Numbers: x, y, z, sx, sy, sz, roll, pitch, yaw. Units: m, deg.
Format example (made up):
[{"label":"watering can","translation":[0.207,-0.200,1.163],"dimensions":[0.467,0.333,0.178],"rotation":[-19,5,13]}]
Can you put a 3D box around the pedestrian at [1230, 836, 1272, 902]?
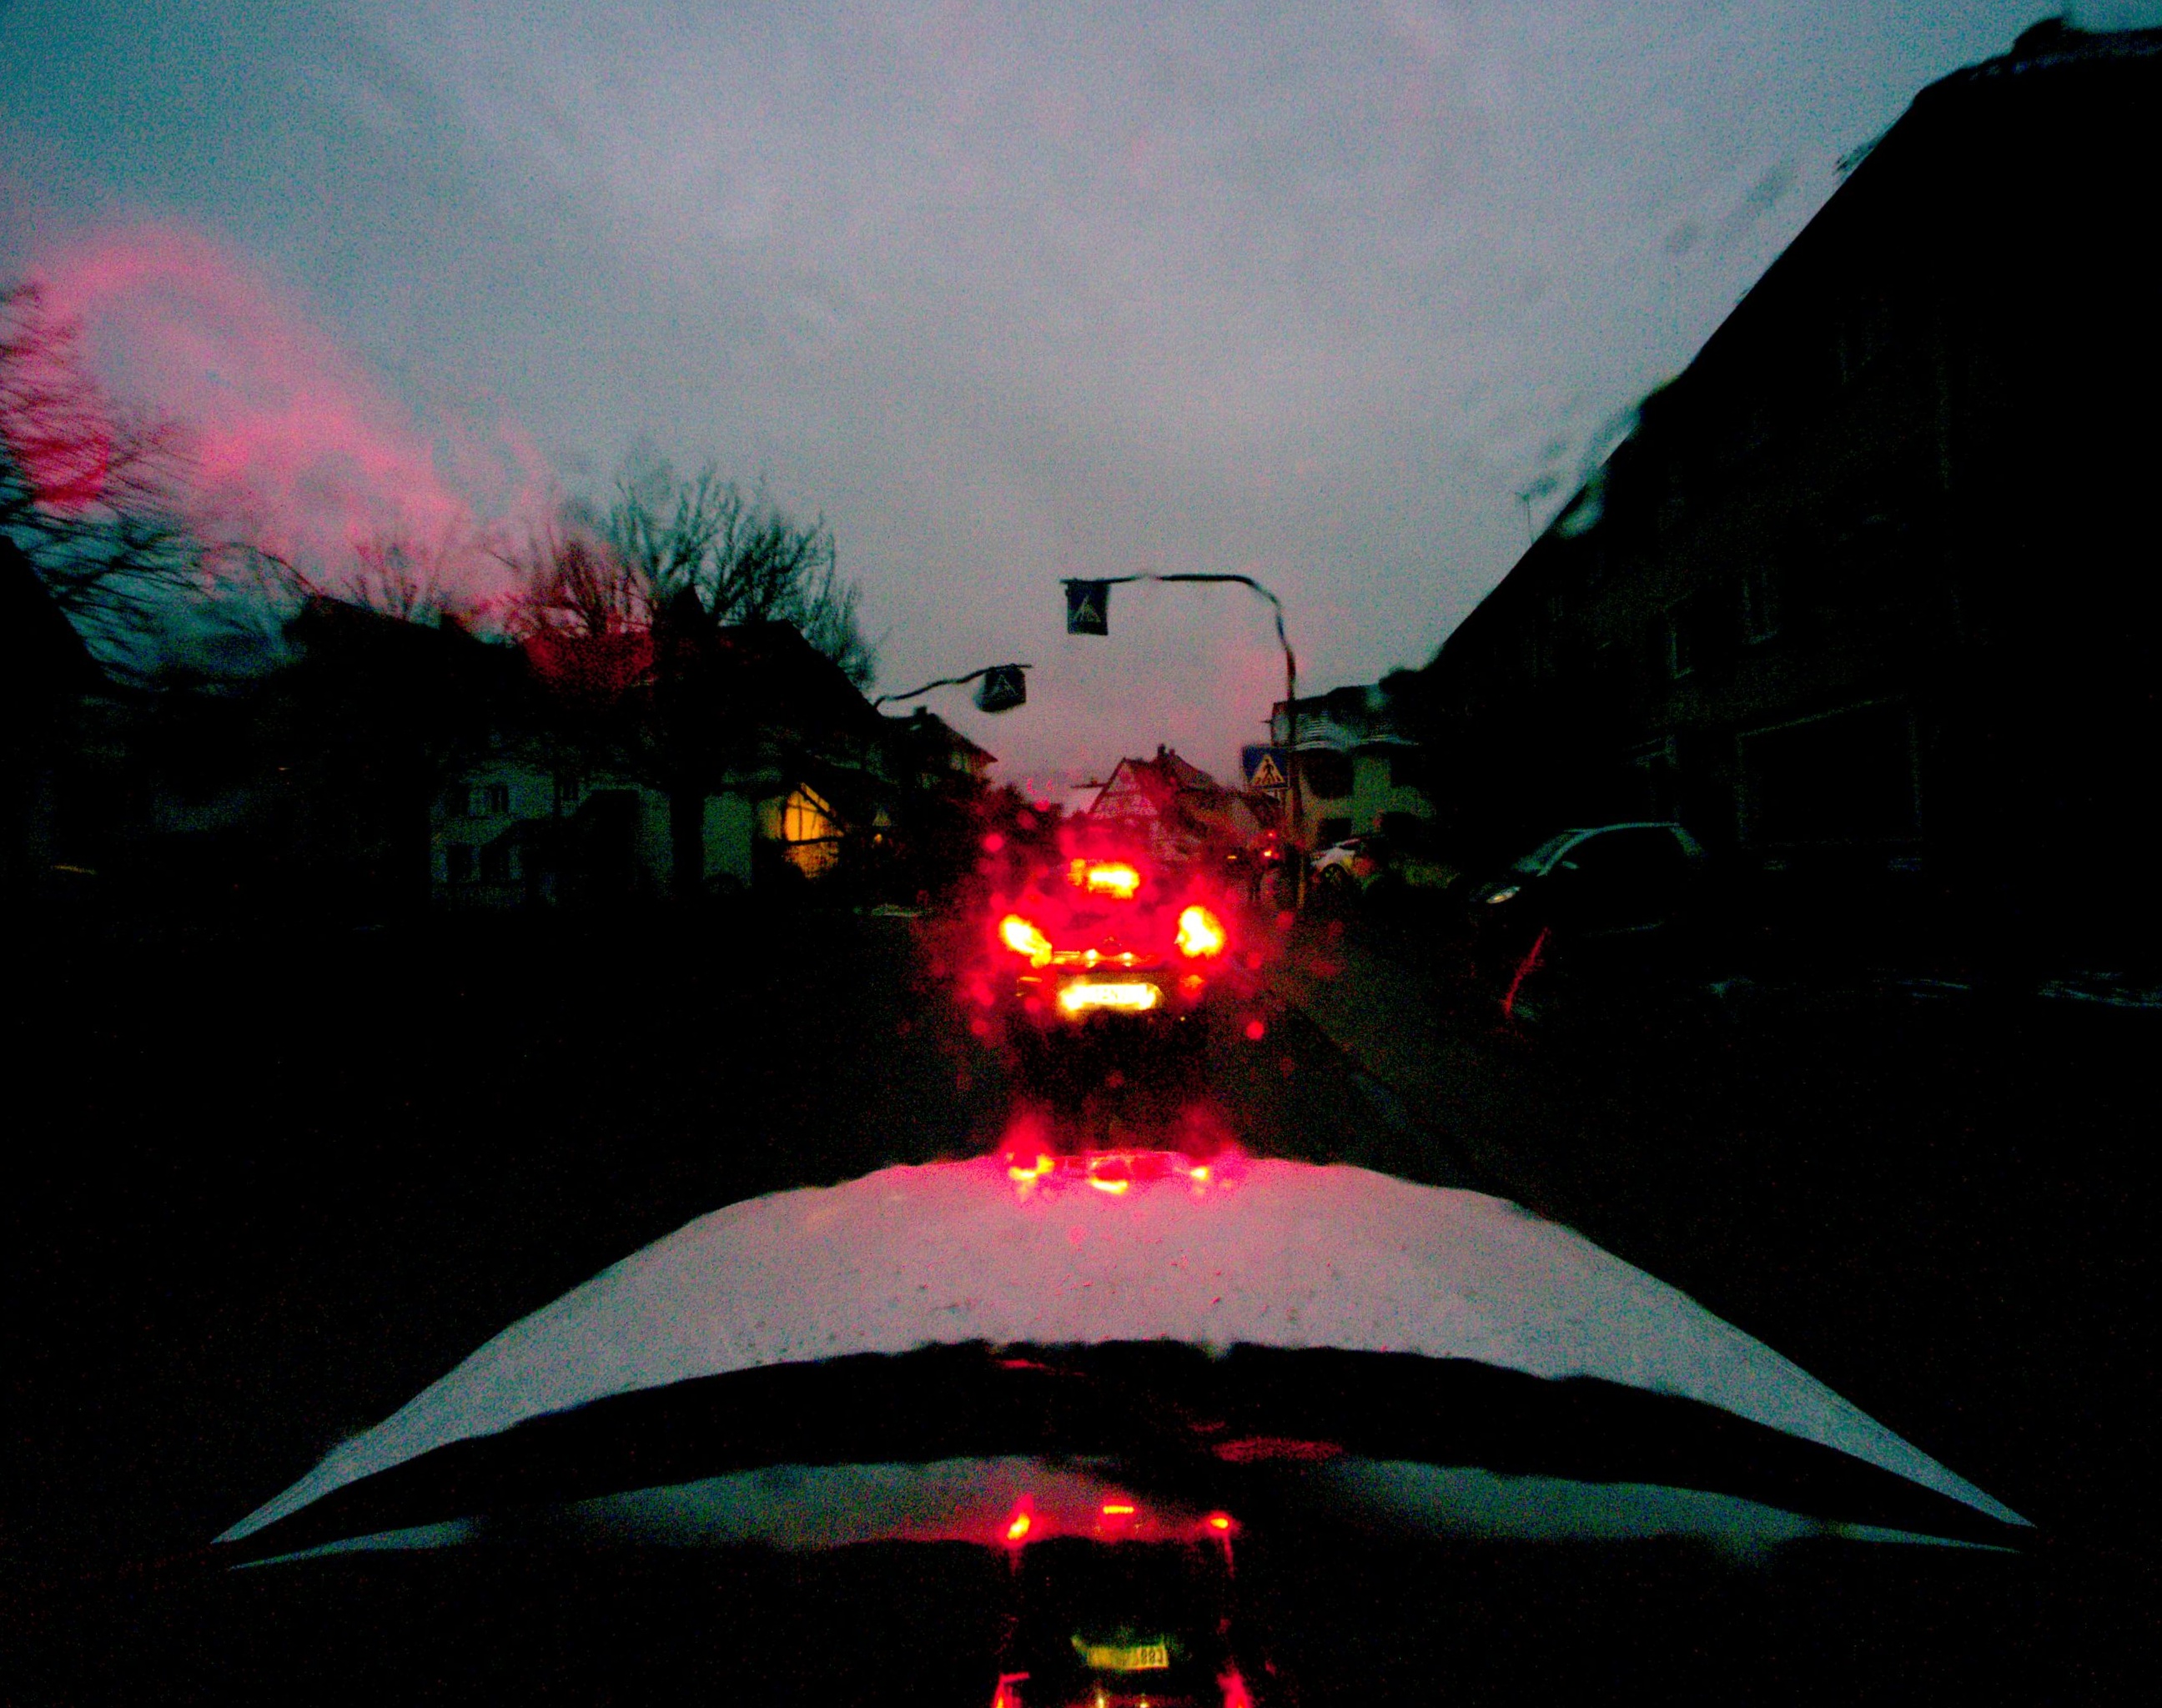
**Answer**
[{"label":"pedestrian","translation":[4.581,0.388,21.877],"dimensions":[0.860,1.667,0.996],"rotation":[-5,-1,17]}]

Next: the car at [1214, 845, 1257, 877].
[{"label":"car","translation":[8.553,0.374,44.816],"dimensions":[1.833,1.637,4.355],"rotation":[-1,0,17]}]

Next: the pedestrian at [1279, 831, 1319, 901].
[{"label":"pedestrian","translation":[5.777,0.306,21.568],"dimensions":[0.841,1.733,0.976],"rotation":[-5,-1,17]}]

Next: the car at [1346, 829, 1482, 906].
[{"label":"car","translation":[7.639,0.301,18.867],"dimensions":[2.567,1.547,1.555],"rotation":[-4,0,9]}]

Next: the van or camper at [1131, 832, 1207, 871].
[{"label":"van or camper","translation":[7.816,-0.203,72.455],"dimensions":[6.005,2.955,2.420],"rotation":[-6,-2,24]}]

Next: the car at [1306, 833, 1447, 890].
[{"label":"car","translation":[9.145,0.232,25.519],"dimensions":[3.874,1.474,1.757],"rotation":[-4,-1,12]}]

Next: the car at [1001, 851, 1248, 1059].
[{"label":"car","translation":[0.227,0.727,7.969],"dimensions":[1.791,1.476,3.996],"rotation":[-1,0,-3]}]

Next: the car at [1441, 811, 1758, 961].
[{"label":"car","translation":[5.939,0.367,9.608],"dimensions":[2.746,1.474,1.431],"rotation":[-4,-1,9]}]

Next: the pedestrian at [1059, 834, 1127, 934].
[{"label":"pedestrian","translation":[0.241,0.539,15.171],"dimensions":[0.873,1.735,0.960],"rotation":[-5,-1,17]}]
